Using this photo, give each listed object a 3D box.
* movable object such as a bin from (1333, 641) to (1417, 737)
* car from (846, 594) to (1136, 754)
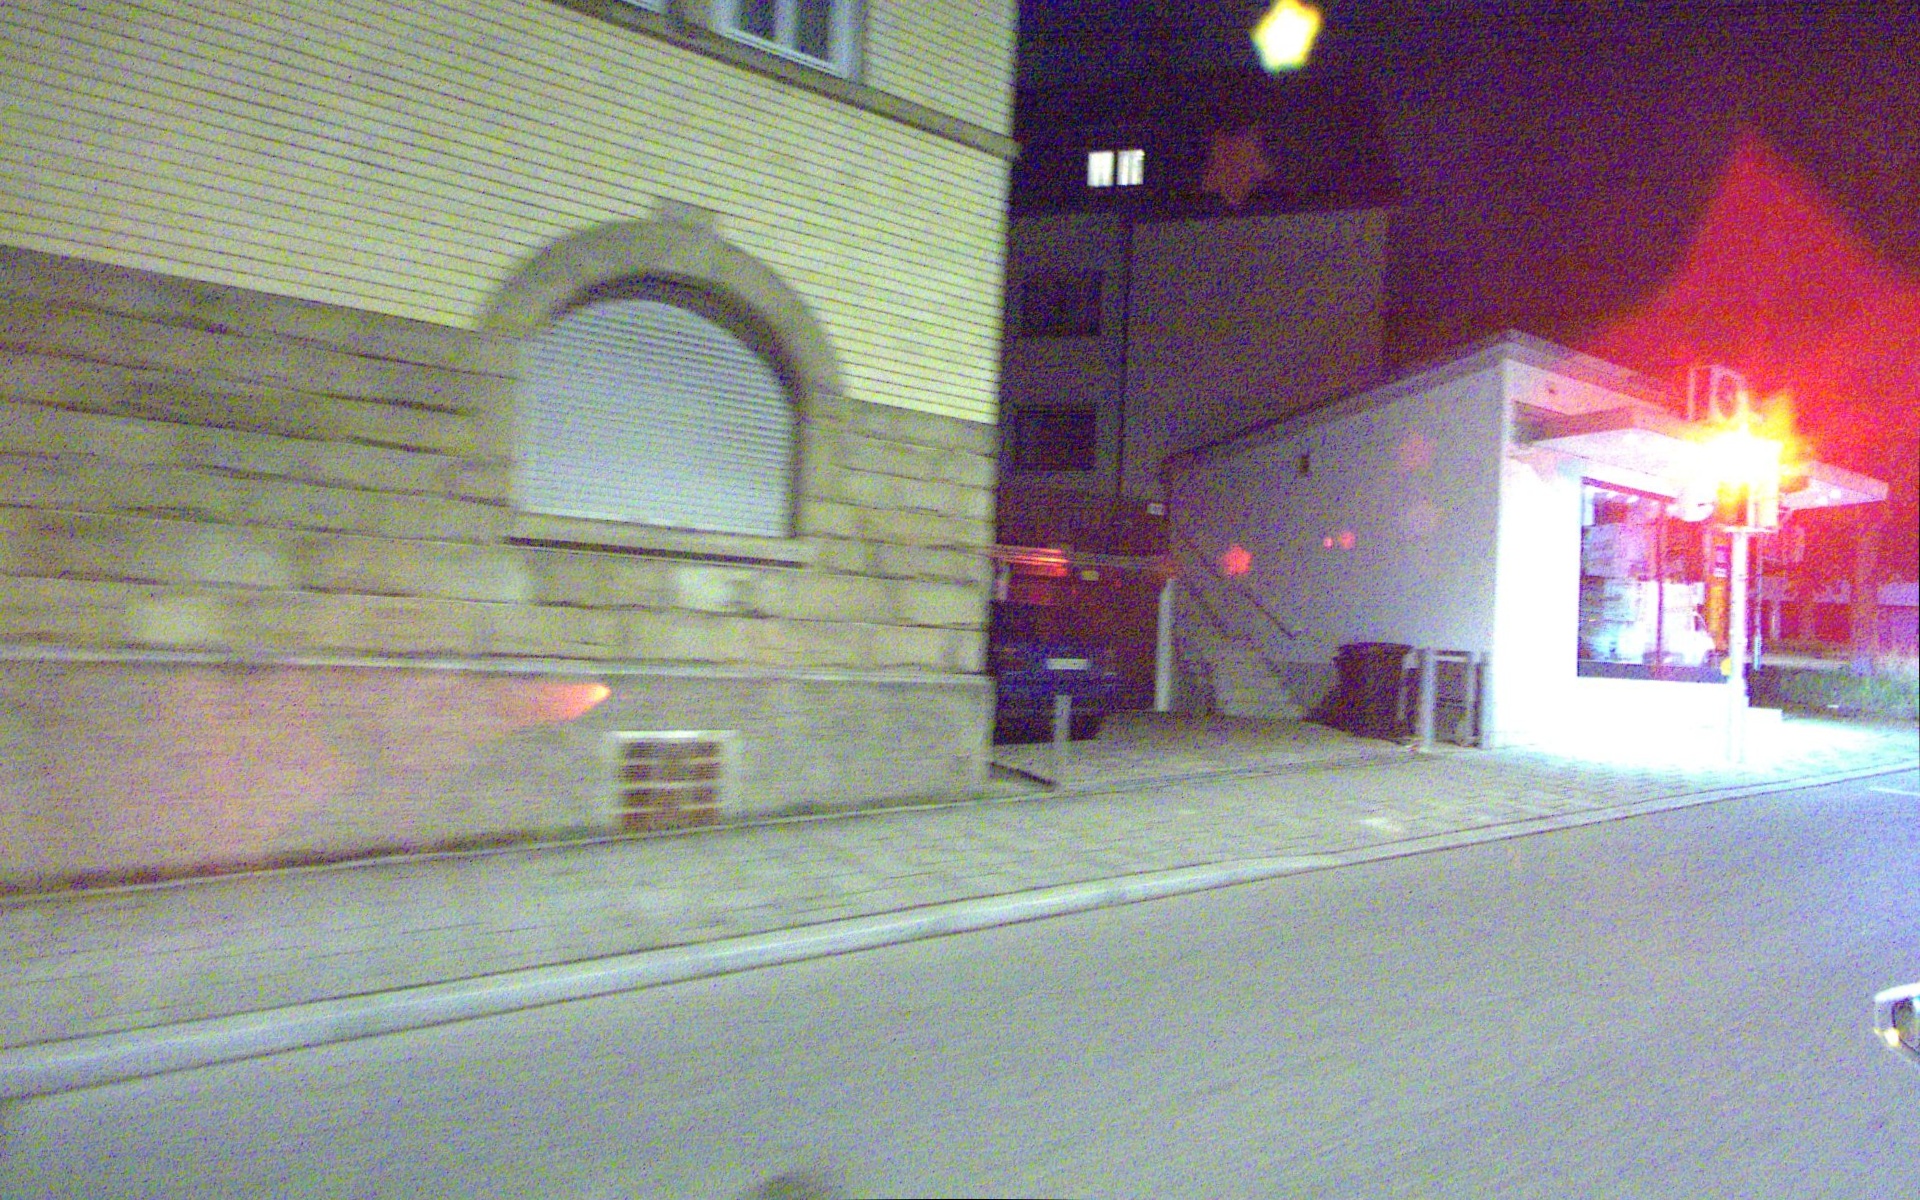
[{"bbox_3d":[4.804,1.019,11.651,0.643,1.063,0.639,1,0,-12],"label":"movable object such as a bin"},{"bbox_3d":[0.202,0.695,11.133,1.655,1.470,3.340,2,0,-31],"label":"car"}]
